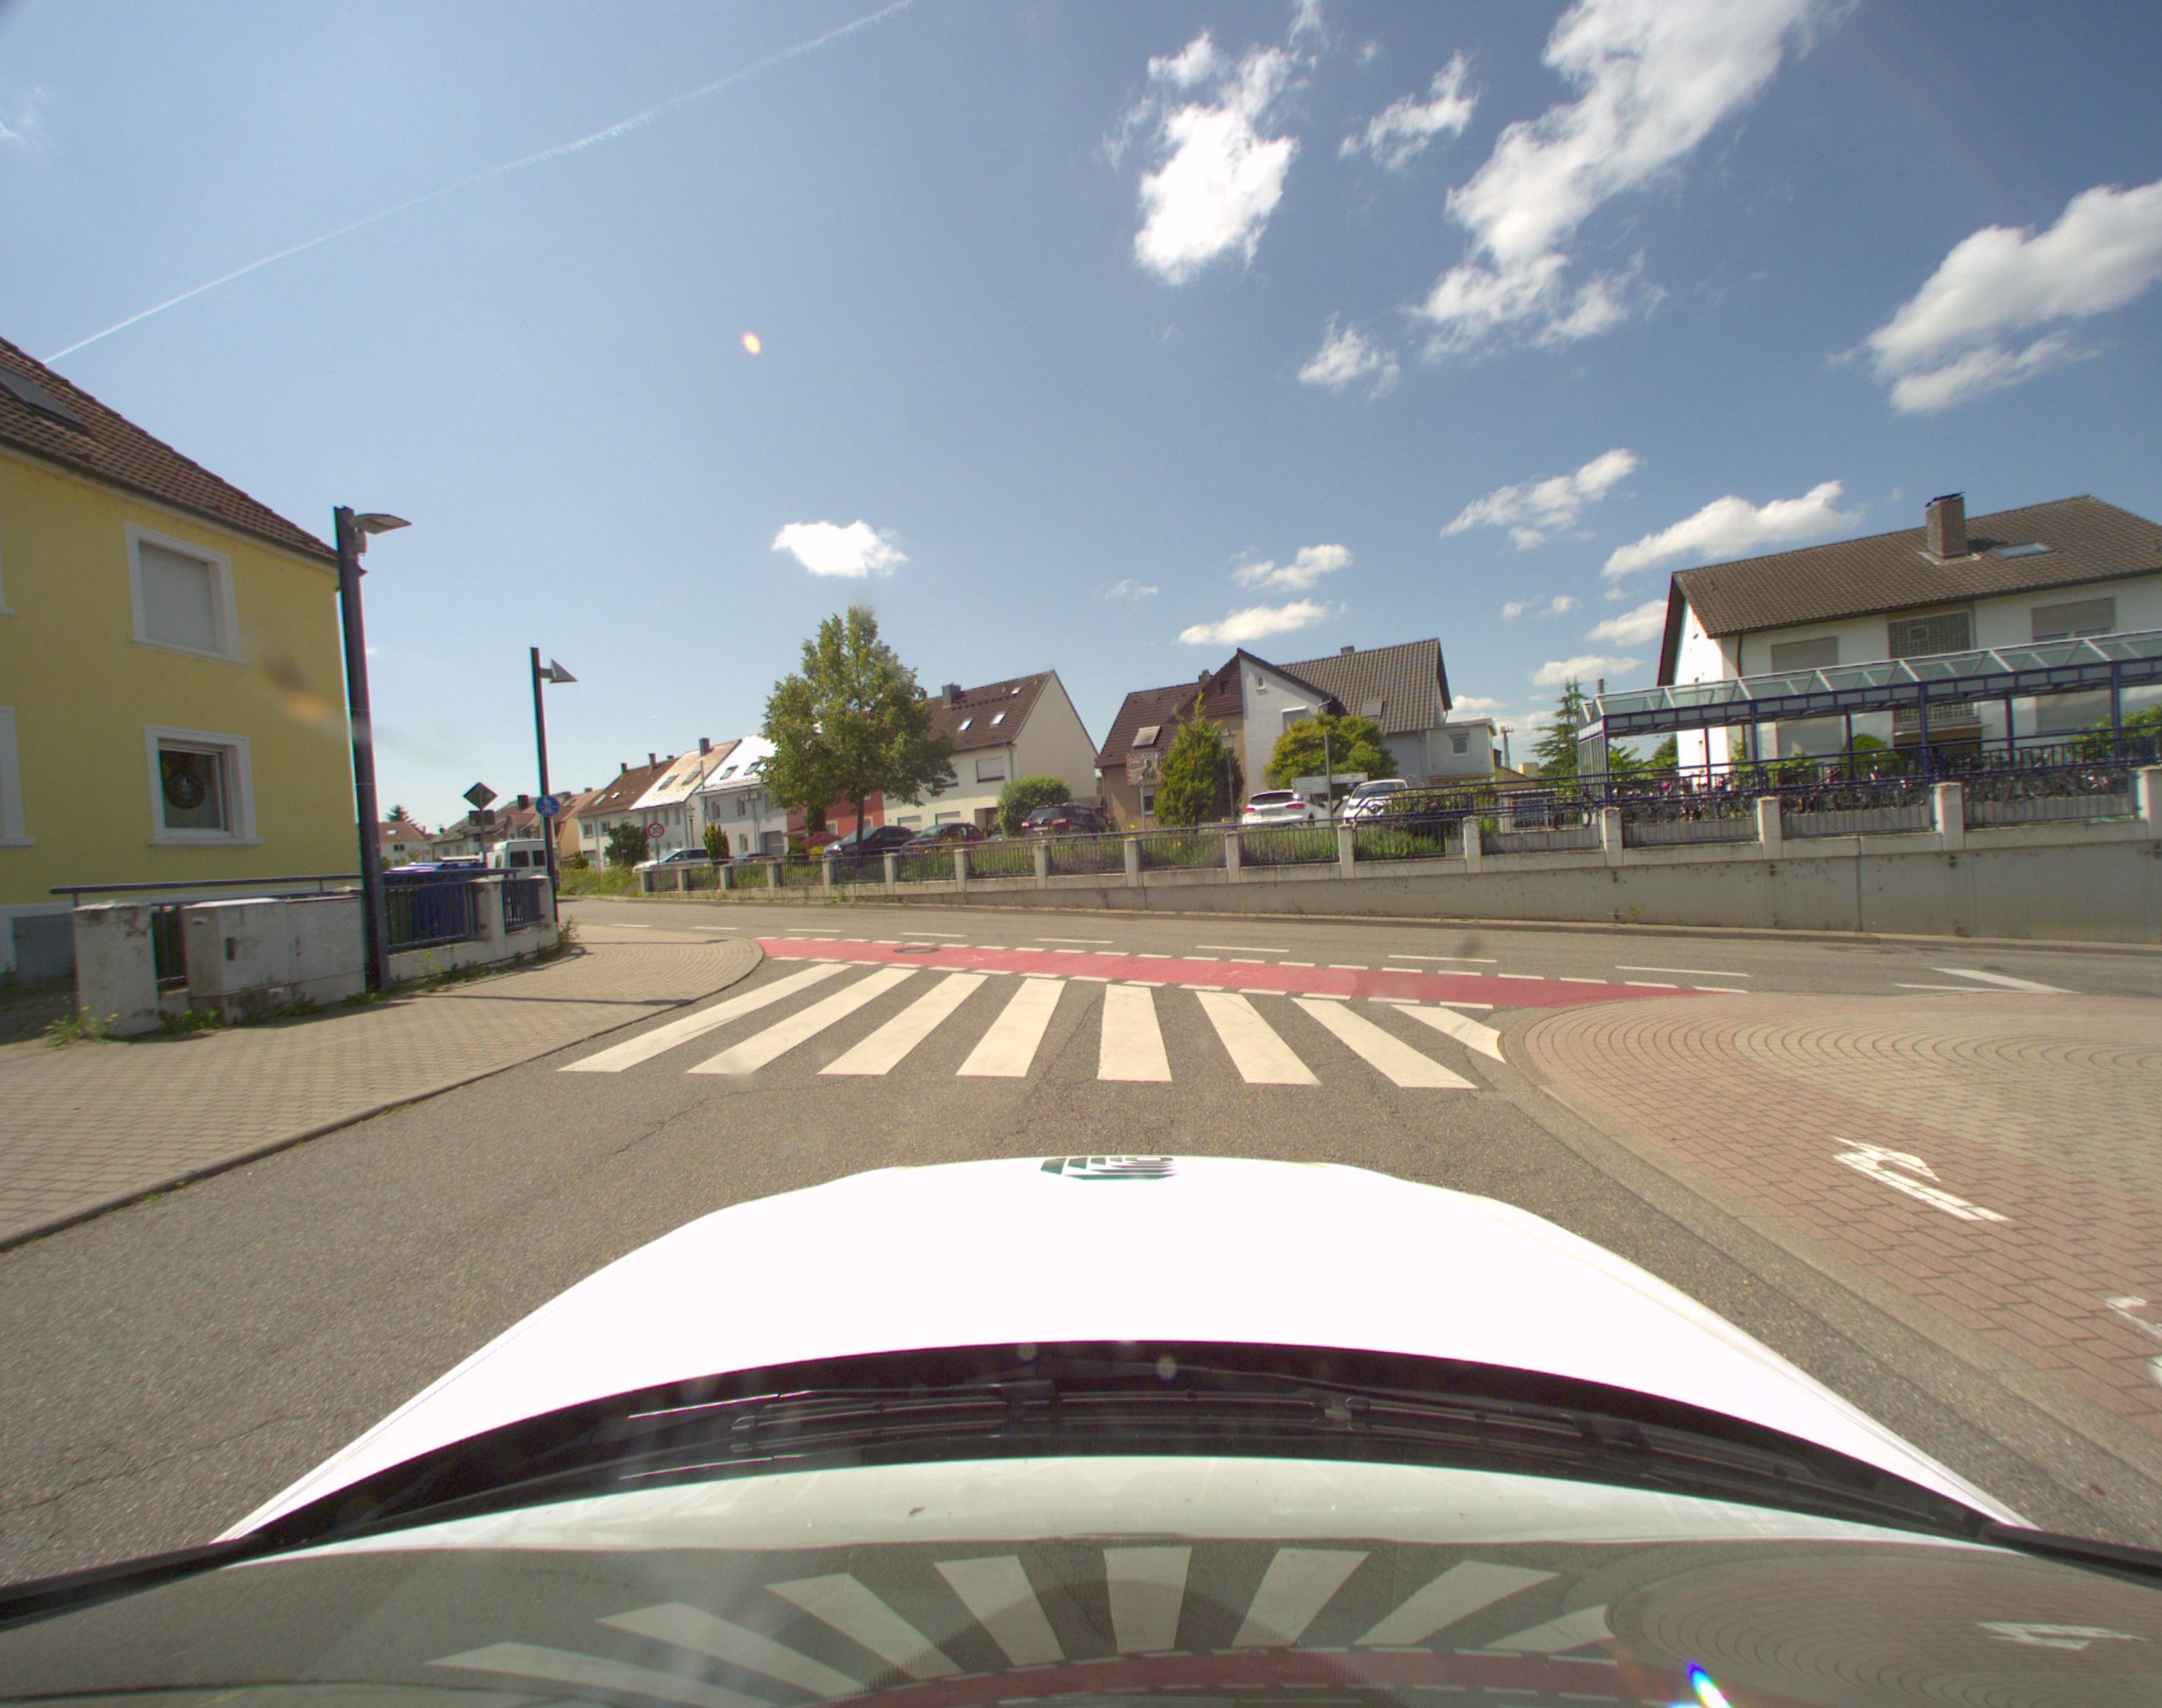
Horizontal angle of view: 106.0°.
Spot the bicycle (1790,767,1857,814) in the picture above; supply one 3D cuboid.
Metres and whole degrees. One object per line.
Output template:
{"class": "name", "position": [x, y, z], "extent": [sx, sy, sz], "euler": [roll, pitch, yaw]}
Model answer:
{"class": "bicycle", "position": [17.239, -1.457, 18.946], "extent": [0.469, 0.994, 1.977], "euler": [-3, 1, 22]}

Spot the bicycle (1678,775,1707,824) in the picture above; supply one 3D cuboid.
{"class": "bicycle", "position": [13.447, -1.189, 17.892], "extent": [0.431, 0.994, 2.116], "euler": [-3, 1, 38]}

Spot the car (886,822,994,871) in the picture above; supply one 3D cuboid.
{"class": "car", "position": [-4.798, -0.268, 28.226], "extent": [1.850, 1.586, 3.632], "euler": [1, 1, 28]}

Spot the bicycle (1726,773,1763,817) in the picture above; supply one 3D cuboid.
{"class": "bicycle", "position": [15.875, -1.389, 19.506], "extent": [0.369, 0.994, 1.978], "euler": [-3, 1, 31]}

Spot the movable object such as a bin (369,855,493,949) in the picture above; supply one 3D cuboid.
{"class": "movable object such as a bin", "position": [-9.236, 0.643, 11.642], "extent": [0.840, 1.213, 1.271], "euler": [-3, 0, -11]}

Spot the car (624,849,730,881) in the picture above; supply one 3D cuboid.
{"class": "car", "position": [-19.521, 0.487, 39.489], "extent": [1.725, 1.488, 4.284], "euler": [1, 1, 34]}

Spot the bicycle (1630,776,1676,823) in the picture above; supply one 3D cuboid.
{"class": "bicycle", "position": [13.011, -1.209, 18.562], "extent": [0.329, 0.994, 2.087], "euler": [-3, 1, 22]}

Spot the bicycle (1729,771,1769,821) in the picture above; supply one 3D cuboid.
{"class": "bicycle", "position": [14.449, -1.242, 17.647], "extent": [0.431, 0.994, 2.116], "euler": [-3, 1, 34]}

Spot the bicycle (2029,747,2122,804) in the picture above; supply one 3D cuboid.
{"class": "bicycle", "position": [19.129, -1.475, 15.717], "extent": [0.573, 0.994, 2.202], "euler": [-3, 1, 36]}

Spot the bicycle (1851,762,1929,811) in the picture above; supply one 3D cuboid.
{"class": "bicycle", "position": [18.336, -1.512, 18.507], "extent": [0.514, 0.994, 1.977], "euler": [-3, 1, 22]}

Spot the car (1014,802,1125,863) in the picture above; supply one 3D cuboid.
{"class": "car", "position": [-0.292, -0.647, 26.172], "extent": [1.850, 1.797, 4.024], "euler": [1, 1, 28]}

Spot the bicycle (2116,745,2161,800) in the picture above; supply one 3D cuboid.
{"class": "bicycle", "position": [20.611, -1.556, 15.503], "extent": [0.510, 0.994, 2.052], "euler": [-3, 1, 35]}

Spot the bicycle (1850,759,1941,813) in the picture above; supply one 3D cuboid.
{"class": "bicycle", "position": [16.744, -1.358, 16.798], "extent": [0.527, 0.994, 2.294], "euler": [-3, 1, 25]}

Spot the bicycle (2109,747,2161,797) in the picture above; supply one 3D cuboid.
{"class": "bicycle", "position": [22.451, -1.718, 16.859], "extent": [0.514, 0.994, 1.977], "euler": [-3, 1, 22]}

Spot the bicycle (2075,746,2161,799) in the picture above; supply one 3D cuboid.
{"class": "bicycle", "position": [21.946, -1.693, 17.067], "extent": [0.514, 0.994, 1.977], "euler": [-3, 1, 22]}

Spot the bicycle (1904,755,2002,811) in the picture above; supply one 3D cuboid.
{"class": "bicycle", "position": [17.713, -1.410, 16.605], "extent": [0.527, 0.994, 2.201], "euler": [-3, 1, 25]}

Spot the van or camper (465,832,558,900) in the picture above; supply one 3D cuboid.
{"class": "van or camper", "position": [-23.798, 0.490, 33.951], "extent": [5.325, 2.630, 2.016], "euler": [-1, -1, 42]}

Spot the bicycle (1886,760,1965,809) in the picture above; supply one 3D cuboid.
{"class": "bicycle", "position": [19.002, -1.548, 18.368], "extent": [0.514, 0.994, 1.811], "euler": [-3, 1, 22]}

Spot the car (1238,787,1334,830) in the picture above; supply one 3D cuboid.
{"class": "car", "position": [5.744, -1.202, 22.529], "extent": [1.808, 1.020, 3.480], "euler": [1, 1, 28]}

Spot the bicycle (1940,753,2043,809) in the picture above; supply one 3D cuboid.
{"class": "bicycle", "position": [18.434, -1.450, 16.550], "extent": [0.527, 0.994, 2.201], "euler": [-3, 1, 25]}

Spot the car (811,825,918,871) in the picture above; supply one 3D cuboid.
{"class": "car", "position": [-7.970, -0.222, 30.288], "extent": [1.850, 1.586, 3.632], "euler": [1, 1, 28]}

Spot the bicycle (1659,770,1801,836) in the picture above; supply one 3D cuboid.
{"class": "bicycle", "position": [12.543, -0.970, 15.799], "extent": [2.096, 1.125, 0.394], "euler": [-3, 1, 21]}

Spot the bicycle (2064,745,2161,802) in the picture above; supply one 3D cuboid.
{"class": "bicycle", "position": [19.954, -1.523, 15.735], "extent": [0.510, 0.994, 2.052], "euler": [-3, 1, 30]}

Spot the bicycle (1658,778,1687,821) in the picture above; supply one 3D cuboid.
{"class": "bicycle", "position": [14.441, -1.314, 19.904], "extent": [0.369, 0.994, 1.978], "euler": [-3, 1, 31]}

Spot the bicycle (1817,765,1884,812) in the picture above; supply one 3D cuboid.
{"class": "bicycle", "position": [17.670, -1.478, 18.752], "extent": [0.410, 0.994, 1.977], "euler": [-3, 1, 22]}

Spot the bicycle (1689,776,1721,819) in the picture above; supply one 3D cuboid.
{"class": "bicycle", "position": [15.291, -1.363, 19.973], "extent": [0.369, 0.994, 1.978], "euler": [-3, 1, 31]}

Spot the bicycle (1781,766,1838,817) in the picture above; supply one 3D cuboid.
{"class": "bicycle", "position": [15.561, -1.301, 17.432], "extent": [0.431, 0.994, 2.296], "euler": [-3, 1, 30]}

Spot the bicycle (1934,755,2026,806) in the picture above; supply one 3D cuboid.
{"class": "bicycle", "position": [19.555, -1.569, 17.768], "extent": [0.514, 0.994, 1.977], "euler": [-3, 1, 22]}

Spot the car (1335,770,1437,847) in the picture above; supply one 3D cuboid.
{"class": "car", "position": [8.084, -1.087, 21.336], "extent": [1.975, 1.797, 4.222], "euler": [1, 1, 28]}

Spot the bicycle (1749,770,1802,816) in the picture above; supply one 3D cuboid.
{"class": "bicycle", "position": [16.519, -1.424, 19.396], "extent": [0.422, 0.994, 1.977], "euler": [-3, 1, 25]}

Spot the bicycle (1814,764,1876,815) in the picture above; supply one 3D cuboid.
{"class": "bicycle", "position": [16.082, -1.327, 17.182], "extent": [0.431, 0.994, 2.296], "euler": [-3, 1, 30]}

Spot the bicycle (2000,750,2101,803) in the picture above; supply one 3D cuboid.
{"class": "bicycle", "position": [20.874, -1.641, 17.588], "extent": [0.514, 0.994, 1.977], "euler": [-3, 1, 22]}

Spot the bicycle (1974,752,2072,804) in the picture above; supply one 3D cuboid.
{"class": "bicycle", "position": [20.258, -1.605, 17.560], "extent": [0.514, 0.994, 1.977], "euler": [-3, 1, 22]}

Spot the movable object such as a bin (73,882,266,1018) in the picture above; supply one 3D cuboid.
{"class": "movable object such as a bin", "position": [-9.212, 0.938, 8.276], "extent": [0.881, 1.225, 0.903], "euler": [-3, 0, 3]}

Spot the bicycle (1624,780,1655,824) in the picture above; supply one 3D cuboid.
{"class": "bicycle", "position": [13.754, -1.277, 20.047], "extent": [0.451, 0.994, 1.900], "euler": [-2, 1, 39]}

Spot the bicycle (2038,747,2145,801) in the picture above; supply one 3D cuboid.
{"class": "bicycle", "position": [21.419, -1.667, 17.317], "extent": [0.514, 0.994, 1.977], "euler": [-3, 1, 22]}

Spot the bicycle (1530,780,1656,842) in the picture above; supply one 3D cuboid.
{"class": "bicycle", "position": [10.411, -0.862, 16.623], "extent": [2.096, 1.125, 0.335], "euler": [-3, 1, 21]}
